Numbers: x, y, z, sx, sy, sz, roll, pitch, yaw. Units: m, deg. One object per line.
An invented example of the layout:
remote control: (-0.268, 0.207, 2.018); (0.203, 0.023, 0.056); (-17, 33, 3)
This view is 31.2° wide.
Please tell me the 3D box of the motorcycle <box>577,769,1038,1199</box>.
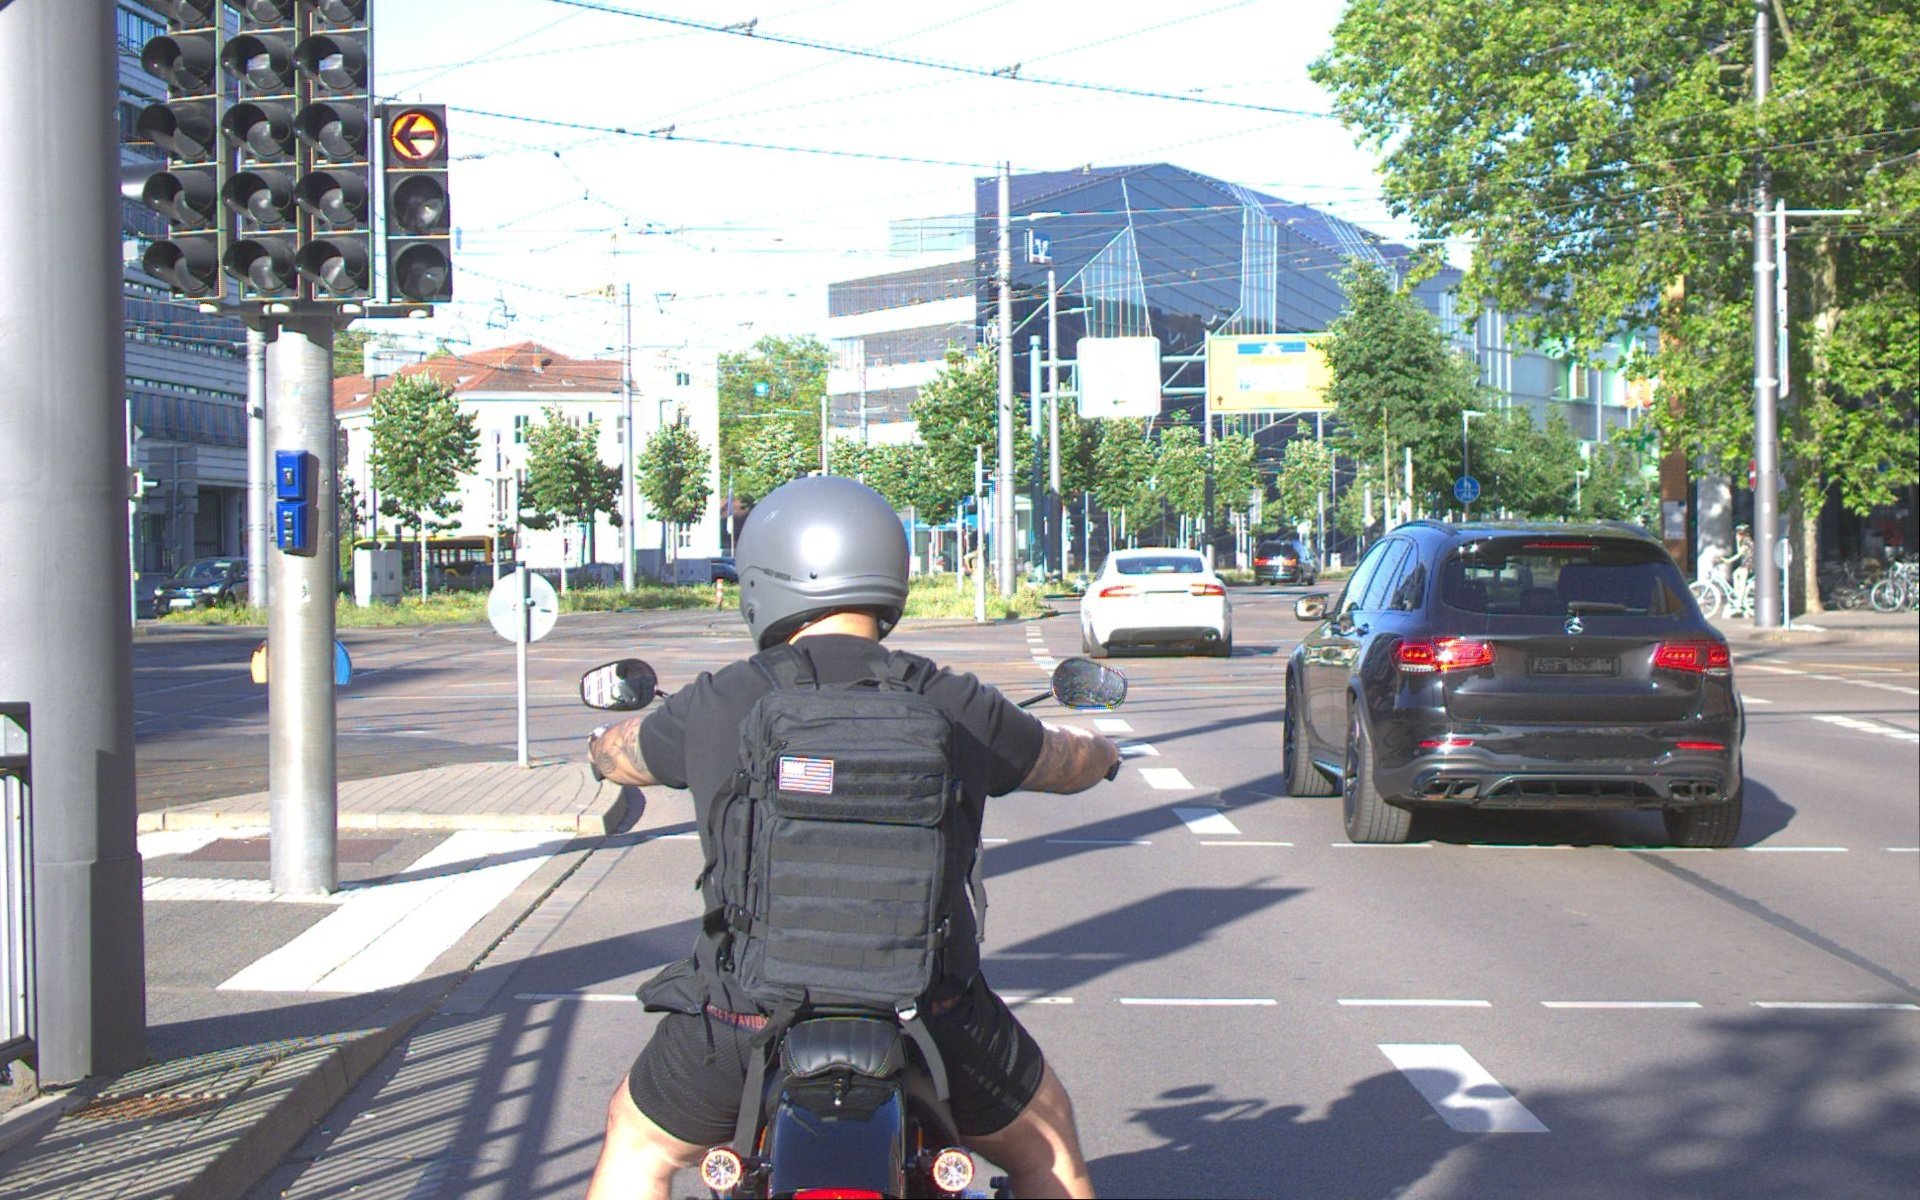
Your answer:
motorcycle: (-0.218, 0.876, 5.639); (0.600, 1.032, 2.234); (1, 1, -1)

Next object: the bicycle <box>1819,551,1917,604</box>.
bicycle: (18.354, -0.457, 69.508); (1.880, 1.043, 0.360); (1, 1, -1)

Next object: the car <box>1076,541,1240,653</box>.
car: (2.598, -0.077, 46.119); (1.803, 1.425, 4.453); (0, 1, -2)

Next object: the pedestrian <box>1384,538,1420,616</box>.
pedestrian: (8.843, -0.460, 68.843); (0.587, 1.551, 0.489); (1, 0, -8)

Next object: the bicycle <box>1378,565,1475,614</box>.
bicycle: (9.104, -0.210, 67.084); (1.825, 0.922, 0.358); (1, 0, -8)

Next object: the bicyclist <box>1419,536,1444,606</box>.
bicyclist: (9.206, -0.568, 67.104); (0.380, 1.368, 0.345); (1, 0, -9)

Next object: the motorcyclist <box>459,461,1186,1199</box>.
motorcyclist: (-0.199, 0.590, 5.347); (1.030, 1.588, 0.873); (0, 1, -1)

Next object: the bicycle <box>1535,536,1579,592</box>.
bicycle: (14.831, -0.892, 85.417); (0.726, 1.362, 2.917); (1, 0, 3)

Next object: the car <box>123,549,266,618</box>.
car: (-17.726, -0.379, 79.758); (1.750, 1.519, 3.998); (1, 0, 11)

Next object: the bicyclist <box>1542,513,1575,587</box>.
bicyclist: (14.825, -1.233, 85.213); (0.697, 1.802, 0.728); (1, 0, 4)

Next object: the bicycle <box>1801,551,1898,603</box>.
bicycle: (18.288, -0.473, 70.658); (1.880, 1.043, 0.360); (1, 1, -1)

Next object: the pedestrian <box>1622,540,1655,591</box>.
pedestrian: (17.881, -0.911, 90.594); (0.819, 1.309, 0.637); (1, 0, 9)

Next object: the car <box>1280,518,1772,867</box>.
car: (2.868, 0.396, 18.374); (1.803, 1.590, 4.453); (2, 1, -1)

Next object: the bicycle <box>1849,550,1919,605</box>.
bicycle: (18.414, -0.438, 67.333); (1.880, 1.043, 0.360); (1, 0, -1)

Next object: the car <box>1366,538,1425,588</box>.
car: (15.718, -1.357, 124.051); (1.732, 1.726, 4.609); (1, 2, 12)

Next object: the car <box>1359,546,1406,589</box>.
car: (18.542, -1.421, 150.771); (1.730, 1.831, 3.573); (1, 0, 12)

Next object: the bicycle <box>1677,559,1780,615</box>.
bicycle: (14.583, -0.249, 65.245); (1.872, 1.040, 0.536); (0, 0, 19)

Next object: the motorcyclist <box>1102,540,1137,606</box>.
motorcyclist: (3.788, -0.640, 81.668); (0.796, 1.574, 0.529); (1, 0, 4)

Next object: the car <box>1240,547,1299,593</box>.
car: (11.892, -1.142, 132.025); (1.804, 1.672, 4.039); (1, 0, 11)

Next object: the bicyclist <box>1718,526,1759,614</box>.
bicyclist: (14.762, -0.564, 65.184); (0.688, 1.667, 0.540); (0, 0, 19)

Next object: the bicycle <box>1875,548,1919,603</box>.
bicycle: (18.494, -0.453, 65.737); (1.880, 1.043, 0.360); (1, 0, -1)

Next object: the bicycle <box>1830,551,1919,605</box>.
bicycle: (18.339, -0.433, 68.521); (1.880, 1.043, 0.360); (1, 0, -1)

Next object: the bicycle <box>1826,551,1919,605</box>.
bicycle: (18.376, -0.448, 69.008); (1.880, 1.043, 0.360); (1, 1, -1)

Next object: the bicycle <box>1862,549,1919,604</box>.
bicycle: (18.456, -0.446, 66.519); (1.880, 1.043, 0.360); (1, 0, -1)
